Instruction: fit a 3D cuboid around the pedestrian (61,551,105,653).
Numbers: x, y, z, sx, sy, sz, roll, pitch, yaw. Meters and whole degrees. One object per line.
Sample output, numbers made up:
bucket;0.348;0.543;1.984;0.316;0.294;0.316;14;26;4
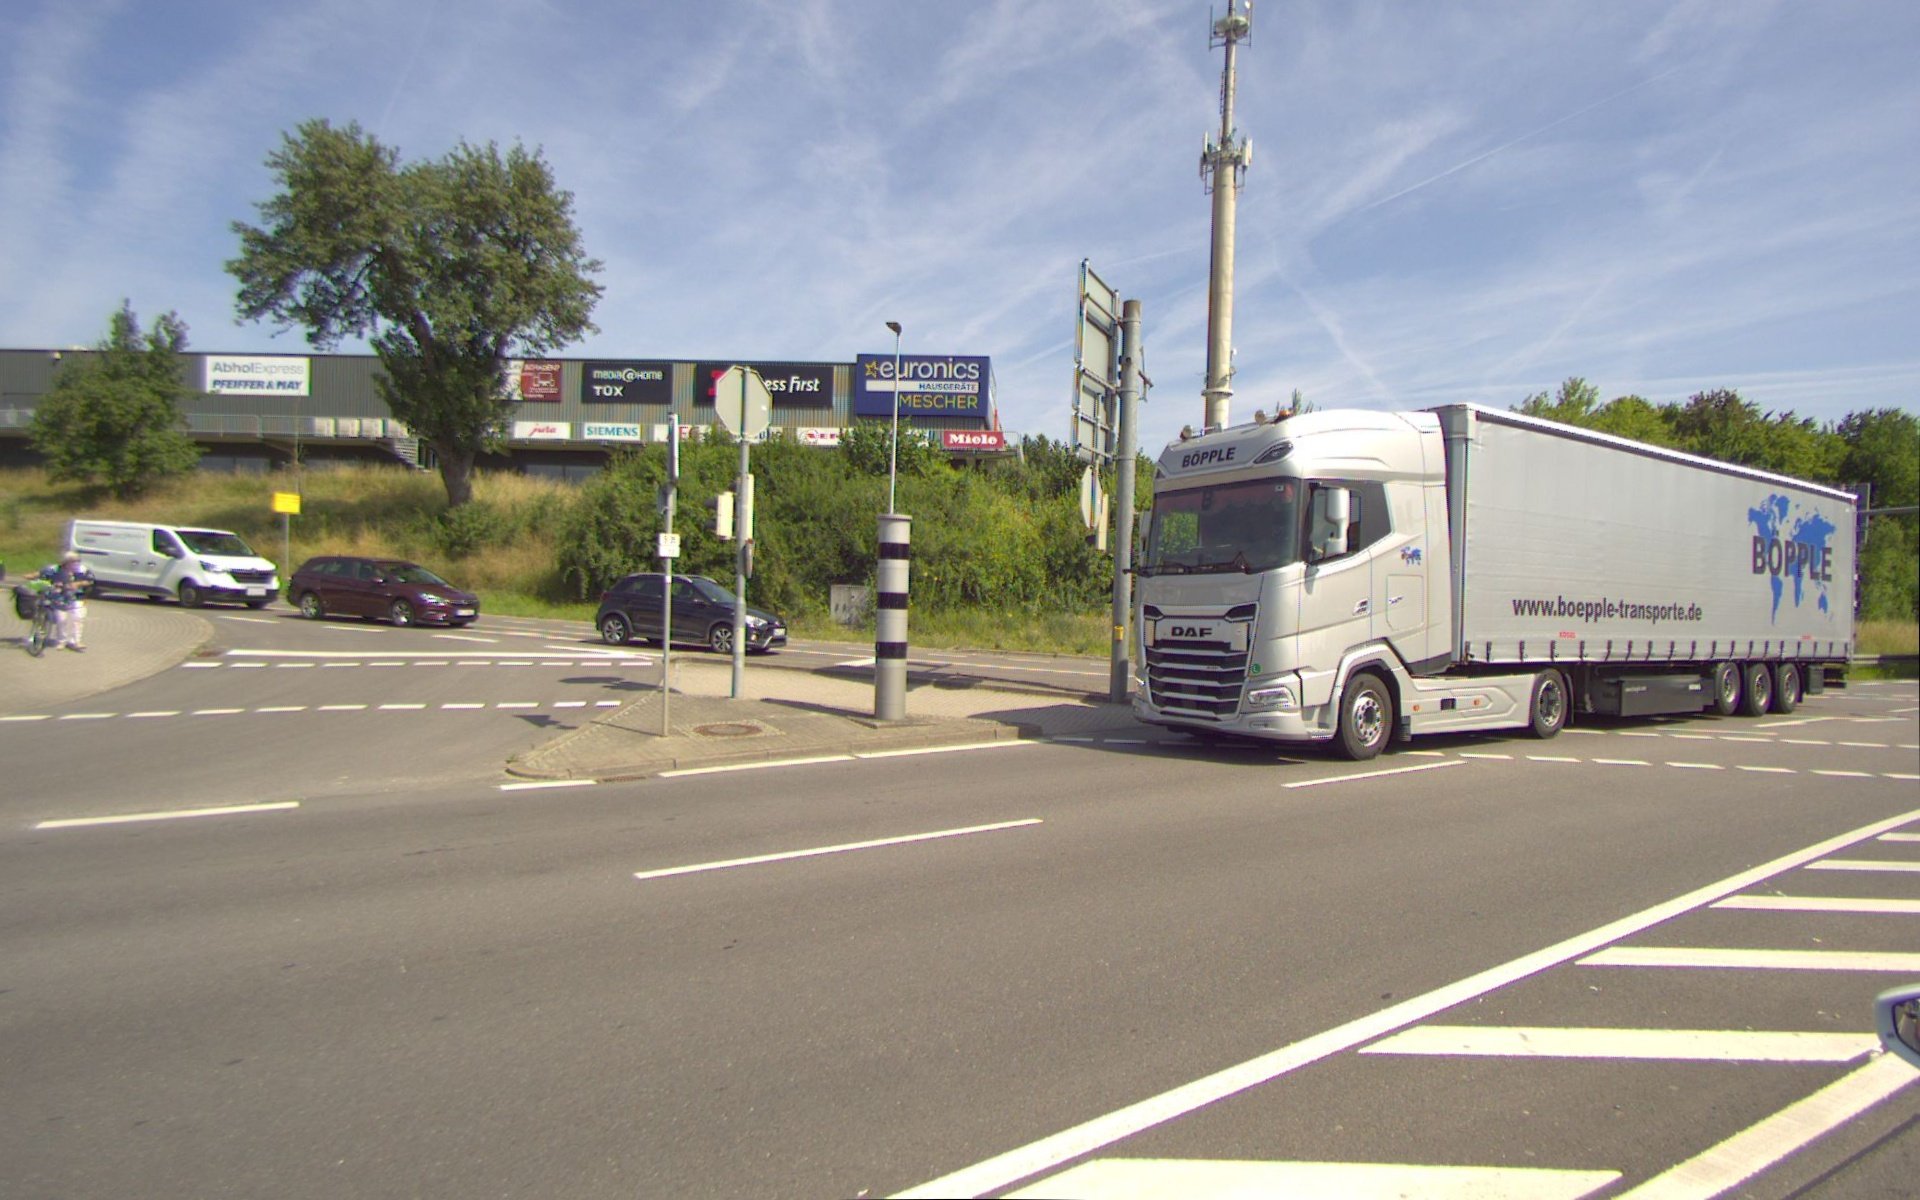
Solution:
pedestrian;-13.799;0.026;15.813;0.492;1.555;0.380;1;5;-42

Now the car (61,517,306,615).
car;-19.681;-0.873;25.505;5.404;2.069;2.069;4;2;16

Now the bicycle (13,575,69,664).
bicycle;-14.255;0.274;15.609;0.587;1.042;2.193;1;7;-42

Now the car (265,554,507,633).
car;-13.275;-0.152;23.291;4.874;1.437;1.950;4;0;16

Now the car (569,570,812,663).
car;-5.651;0.295;21.173;4.543;1.548;1.916;4;2;16

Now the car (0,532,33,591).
car;-28.162;-1.183;27.537;4.419;1.583;2.001;3;0;16

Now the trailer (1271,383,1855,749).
trailer;10.722;-0.238;16.525;13.735;4.203;2.675;2;0;-34

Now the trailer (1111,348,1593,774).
trailer;5.081;-0.317;12.630;6.117;4.159;2.629;1;0;-34
